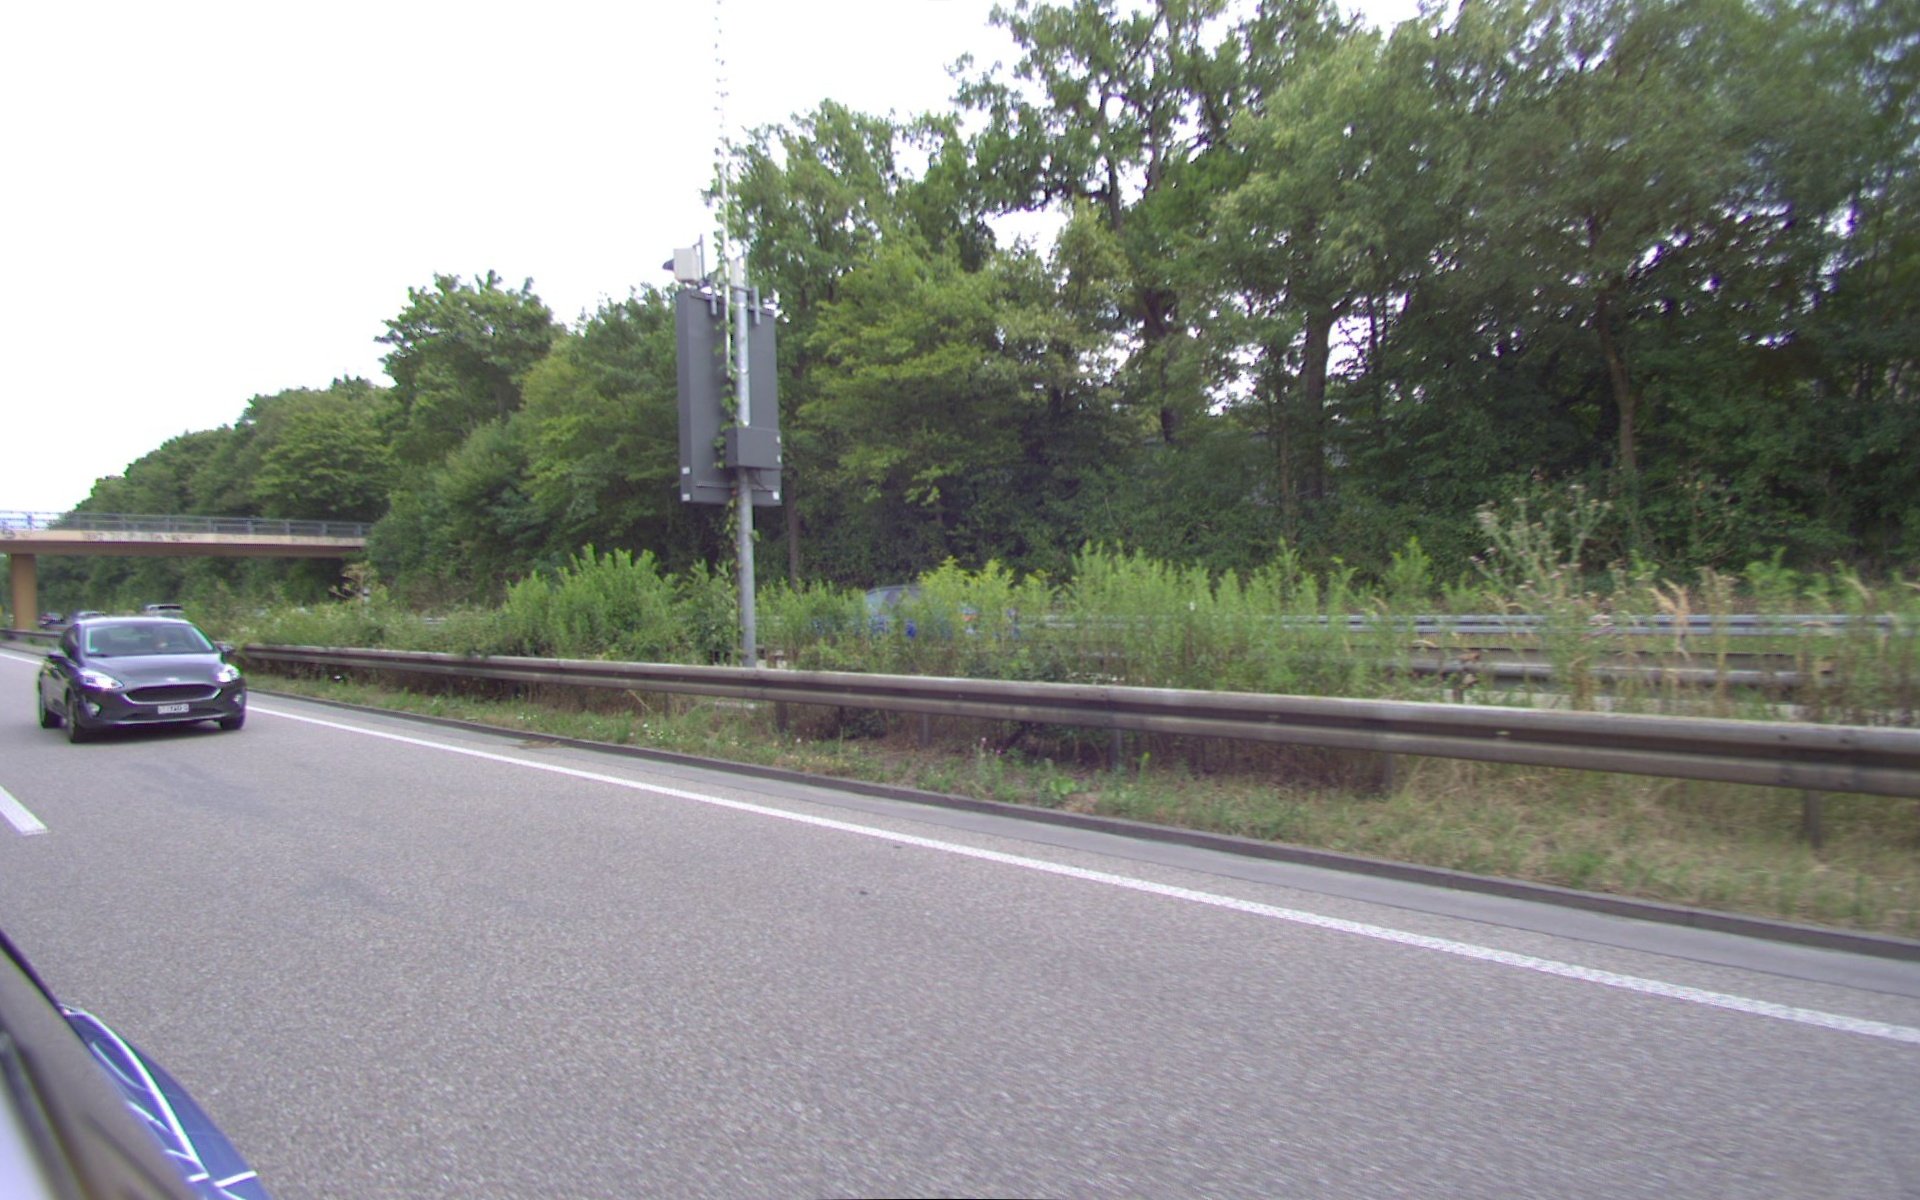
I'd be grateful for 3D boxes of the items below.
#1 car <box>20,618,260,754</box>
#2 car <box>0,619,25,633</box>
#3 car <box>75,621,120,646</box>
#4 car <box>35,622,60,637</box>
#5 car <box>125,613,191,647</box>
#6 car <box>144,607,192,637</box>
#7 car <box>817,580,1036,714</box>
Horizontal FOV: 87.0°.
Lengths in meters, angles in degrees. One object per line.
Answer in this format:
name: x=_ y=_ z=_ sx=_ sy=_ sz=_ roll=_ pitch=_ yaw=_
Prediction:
car: x=-10.941 y=0.983 z=13.376 sx=4.639 sy=1.469 sz=1.806 roll=-1 pitch=-1 yaw=43
car: x=-100.278 y=2.769 z=107.061 sx=4.936 sy=1.391 sz=1.670 roll=-1 pitch=-1 yaw=43
car: x=-58.284 y=2.242 z=68.397 sx=4.180 sy=1.602 sz=1.784 roll=-1 pitch=-1 yaw=42
car: x=-107.966 y=3.462 z=119.726 sx=4.639 sy=1.699 sz=1.873 roll=-1 pitch=-1 yaw=43
car: x=-40.310 y=1.490 z=50.865 sx=3.999 sy=1.623 sz=1.972 roll=-1 pitch=-1 yaw=42
car: x=-55.518 y=1.527 z=70.926 sx=5.300 sy=2.029 sz=1.777 roll=-1 pitch=-1 yaw=42
car: x=-0.543 y=0.639 z=14.960 sx=3.055 sy=1.760 sz=1.500 roll=-1 pitch=-1 yaw=41
